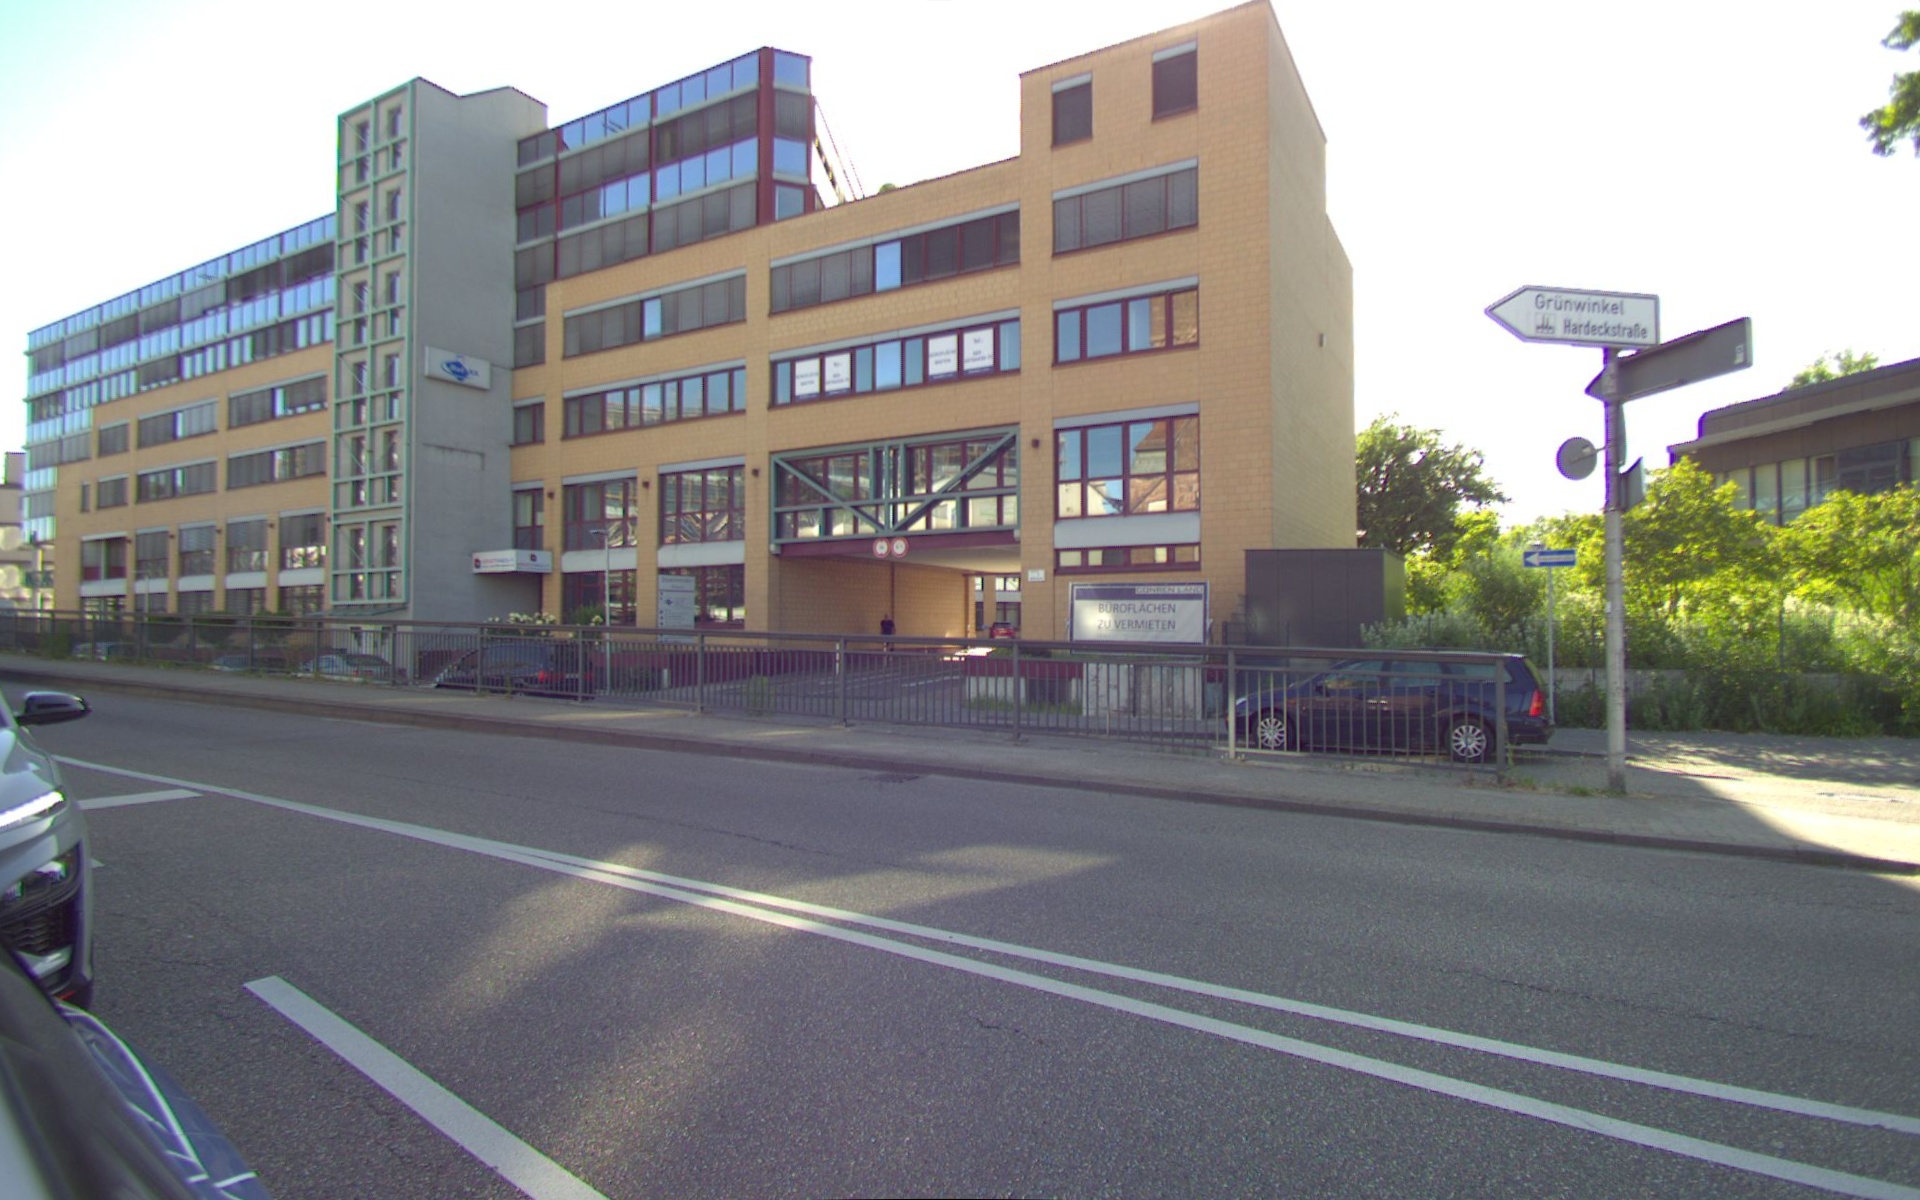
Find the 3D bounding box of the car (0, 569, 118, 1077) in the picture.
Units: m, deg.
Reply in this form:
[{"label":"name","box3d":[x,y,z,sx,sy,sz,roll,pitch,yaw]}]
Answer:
[{"label":"car","box3d":[-4.988,0.706,4.081,4.219,1.582,1.825,-1,-1,41]}]

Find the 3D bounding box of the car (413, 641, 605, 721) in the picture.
[{"label":"car","box3d":[-11.149,1.924,24.941,4.667,1.771,1.938,-1,-1,29]}]

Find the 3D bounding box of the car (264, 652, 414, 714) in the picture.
[{"label":"car","box3d":[-17.736,2.306,28.862,4.340,1.616,1.807,-1,-3,30]}]

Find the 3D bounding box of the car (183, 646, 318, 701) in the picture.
[{"label":"car","box3d":[-22.252,2.252,31.700,4.340,1.616,1.807,-1,-3,30]}]

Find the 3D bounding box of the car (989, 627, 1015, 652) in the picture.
[{"label":"car","box3d":[2.753,2.593,66.730,1.621,1.586,3.150,-1,-2,2]}]

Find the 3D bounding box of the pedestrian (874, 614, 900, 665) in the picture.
[{"label":"pedestrian","box3d":[-2.700,1.456,37.435,0.676,1.858,0.779,-2,-3,28]}]

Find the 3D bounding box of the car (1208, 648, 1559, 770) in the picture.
[{"label":"car","box3d":[6.062,1.462,14.693,4.438,1.515,1.805,-2,-3,33]}]
